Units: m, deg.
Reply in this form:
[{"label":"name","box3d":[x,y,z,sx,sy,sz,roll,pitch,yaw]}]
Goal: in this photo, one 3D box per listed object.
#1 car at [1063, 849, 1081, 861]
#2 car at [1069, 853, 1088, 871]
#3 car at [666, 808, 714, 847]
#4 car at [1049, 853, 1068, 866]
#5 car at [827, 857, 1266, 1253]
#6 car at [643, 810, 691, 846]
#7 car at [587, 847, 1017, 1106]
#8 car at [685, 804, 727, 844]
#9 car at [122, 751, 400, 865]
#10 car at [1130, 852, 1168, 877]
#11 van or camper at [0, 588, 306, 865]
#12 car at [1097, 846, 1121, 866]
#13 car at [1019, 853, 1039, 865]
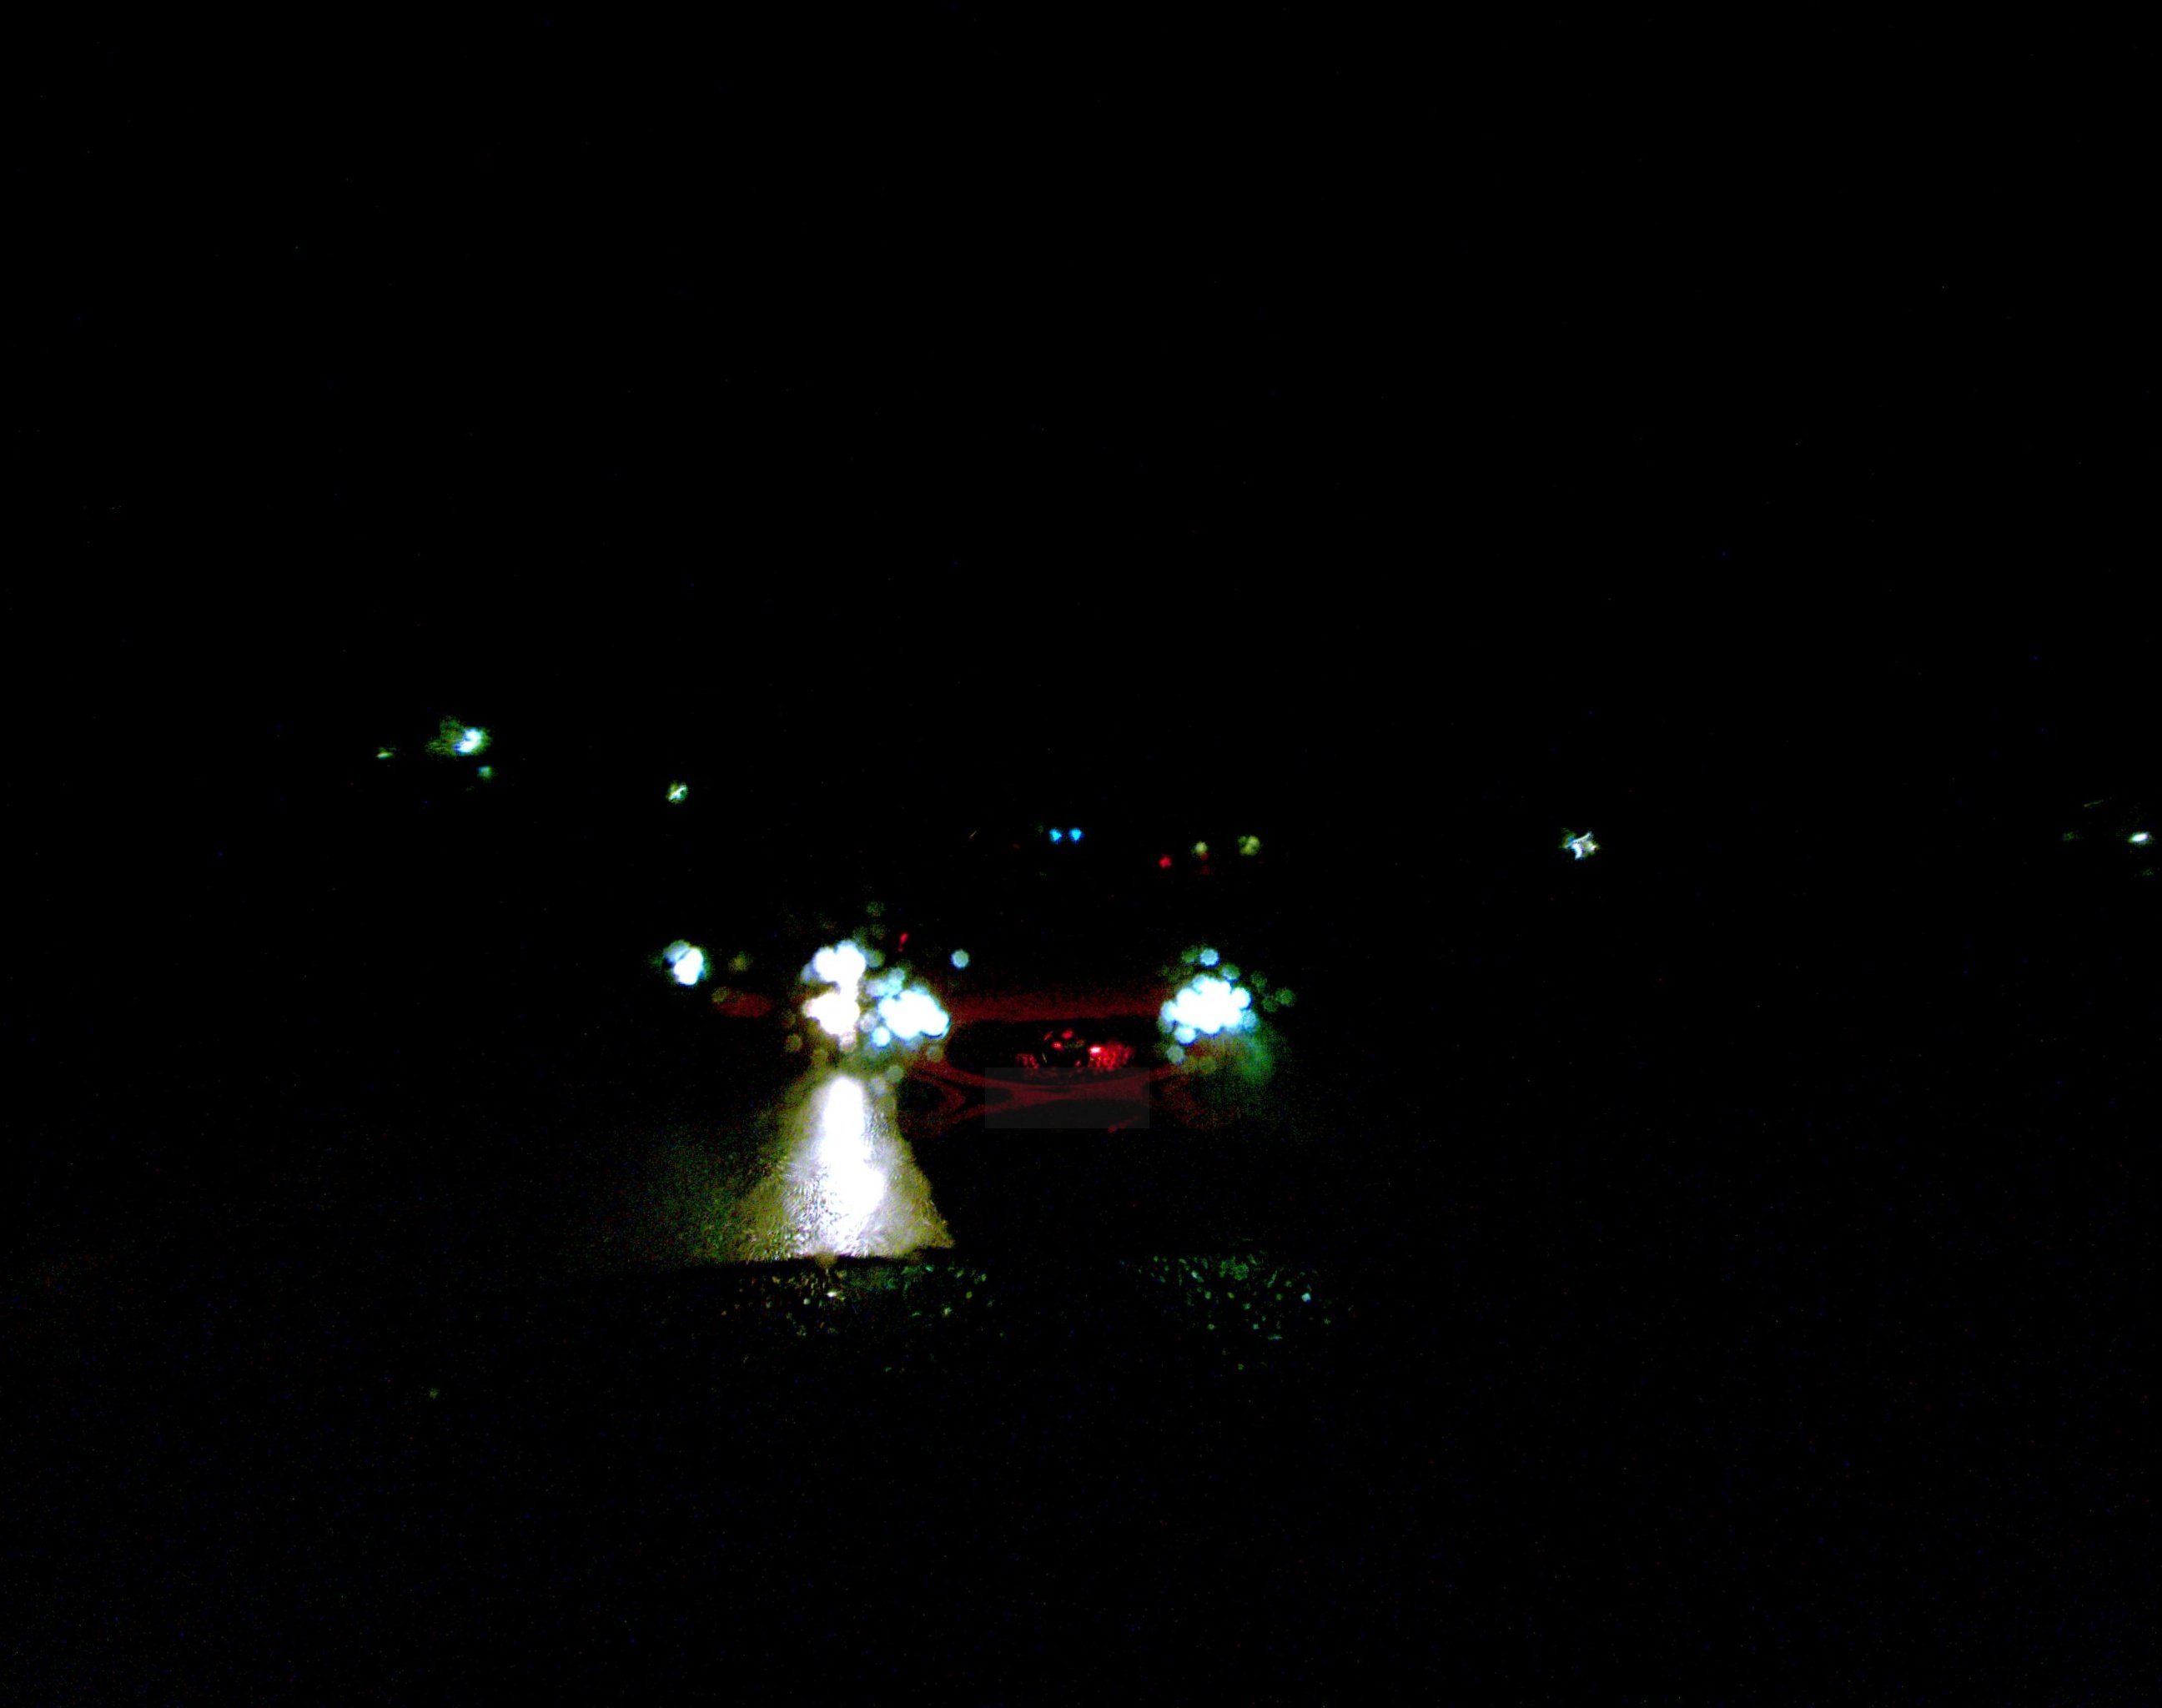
[{"label":"car","box3d":[-1.347,0.157,109.128,2.000,1.687,3.996,-2,1,-9]},{"label":"car","box3d":[-0.355,0.991,94.779,1.999,2.002,3.998,-2,1,-4]},{"label":"car","box3d":[-26.337,-1.753,51.319,1.937,2.406,4.249,-3,1,-16]},{"label":"car","box3d":[-3.680,0.883,123.512,2.002,2.002,3.993,-3,1,-20]},{"label":"car","box3d":[-0.116,0.881,5.444,1.826,1.573,4.354,-2,1,1]},{"label":"car","box3d":[-25.024,-1.542,46.055,1.735,2.002,3.696,-3,1,-16]},{"label":"car","box3d":[-2.200,0.853,7.773,1.838,1.725,4.944,-2,1,10]},{"label":"car","box3d":[-27.802,-2.202,56.521,1.937,2.759,4.249,-3,1,-16]},{"label":"car","box3d":[-16.400,-0.846,15.573,2.001,2.002,3.994,-3,1,-16]},{"label":"car","box3d":[4.545,0.746,51.529,1.893,1.559,4.485,-1,-1,-4]},{"label":"van or camper","box3d":[-12.746,-1.294,9.061,2.417,2.777,5.763,-3,1,-18]},{"label":"car","box3d":[2.992,0.199,82.829,2.091,2.002,4.711,-2,1,-4]},{"label":"car","box3d":[-9.212,0.853,134.487,2.094,2.002,4.704,-2,1,-22]}]
